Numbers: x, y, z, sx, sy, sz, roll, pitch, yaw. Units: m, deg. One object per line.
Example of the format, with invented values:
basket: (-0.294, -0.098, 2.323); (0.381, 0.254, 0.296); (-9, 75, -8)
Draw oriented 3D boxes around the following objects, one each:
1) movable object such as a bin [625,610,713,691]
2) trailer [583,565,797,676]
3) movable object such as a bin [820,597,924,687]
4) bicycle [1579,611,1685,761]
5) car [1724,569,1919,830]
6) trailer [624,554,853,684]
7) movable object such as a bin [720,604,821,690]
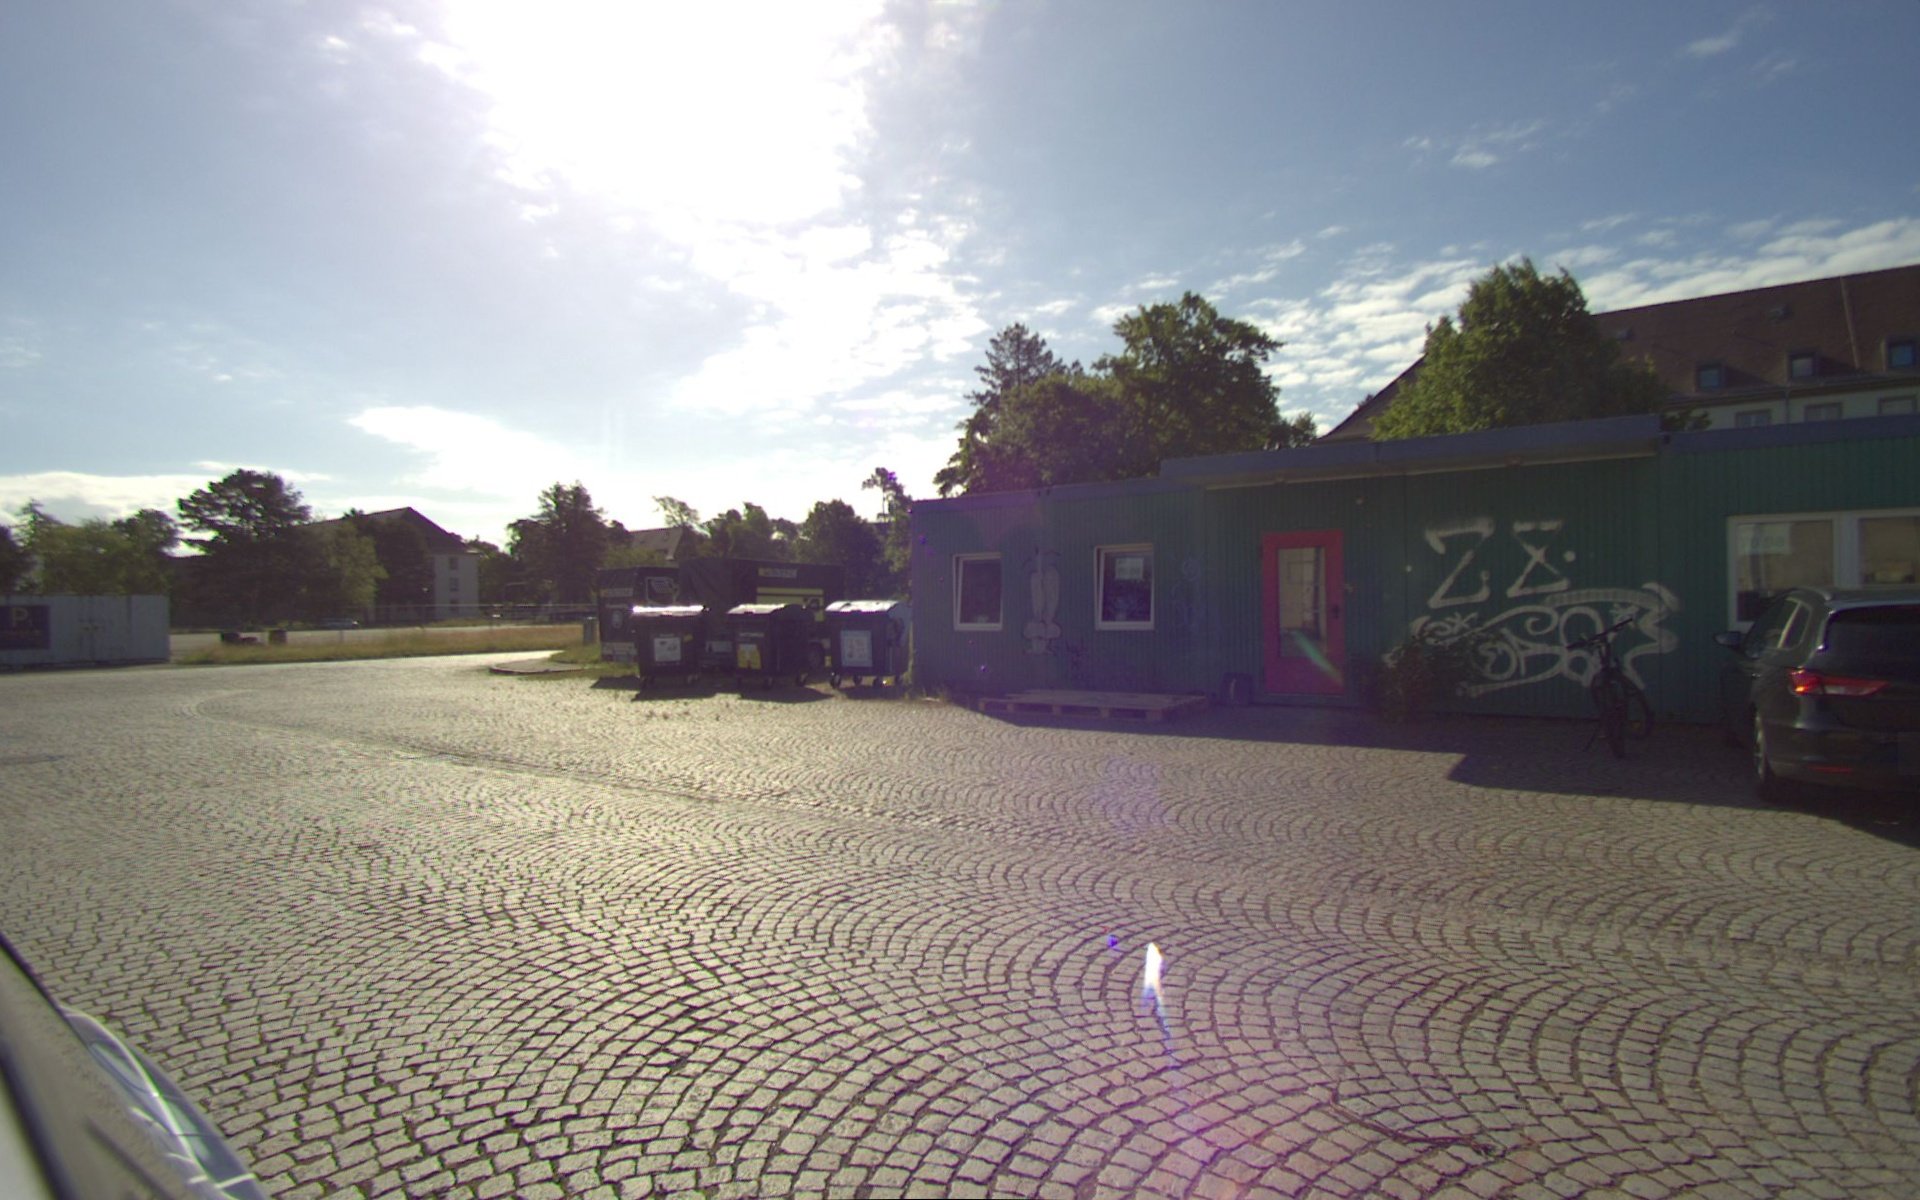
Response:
movable object such as a bin: (-5.245, 0.886, 18.332); (1.343, 1.396, 1.049); (-1, 0, -6)
trailer: (-6.074, 0.385, 23.212); (2.010, 2.290, 4.413); (-1, 1, 37)
movable object such as a bin: (-1.483, 0.695, 17.154); (1.401, 1.447, 1.079); (-1, -1, 25)
bicycle: (5.944, 0.701, 8.912); (0.672, 1.109, 1.693); (-2, 1, 36)
car: (6.635, 0.513, 7.170); (1.727, 1.423, 4.016); (-1, 1, 34)
trailer: (-4.497, 0.320, 21.355); (1.936, 2.409, 4.804); (-1, 1, 31)
movable object such as a bin: (-3.278, 0.783, 17.483); (1.368, 1.396, 1.069); (-1, 0, 40)
